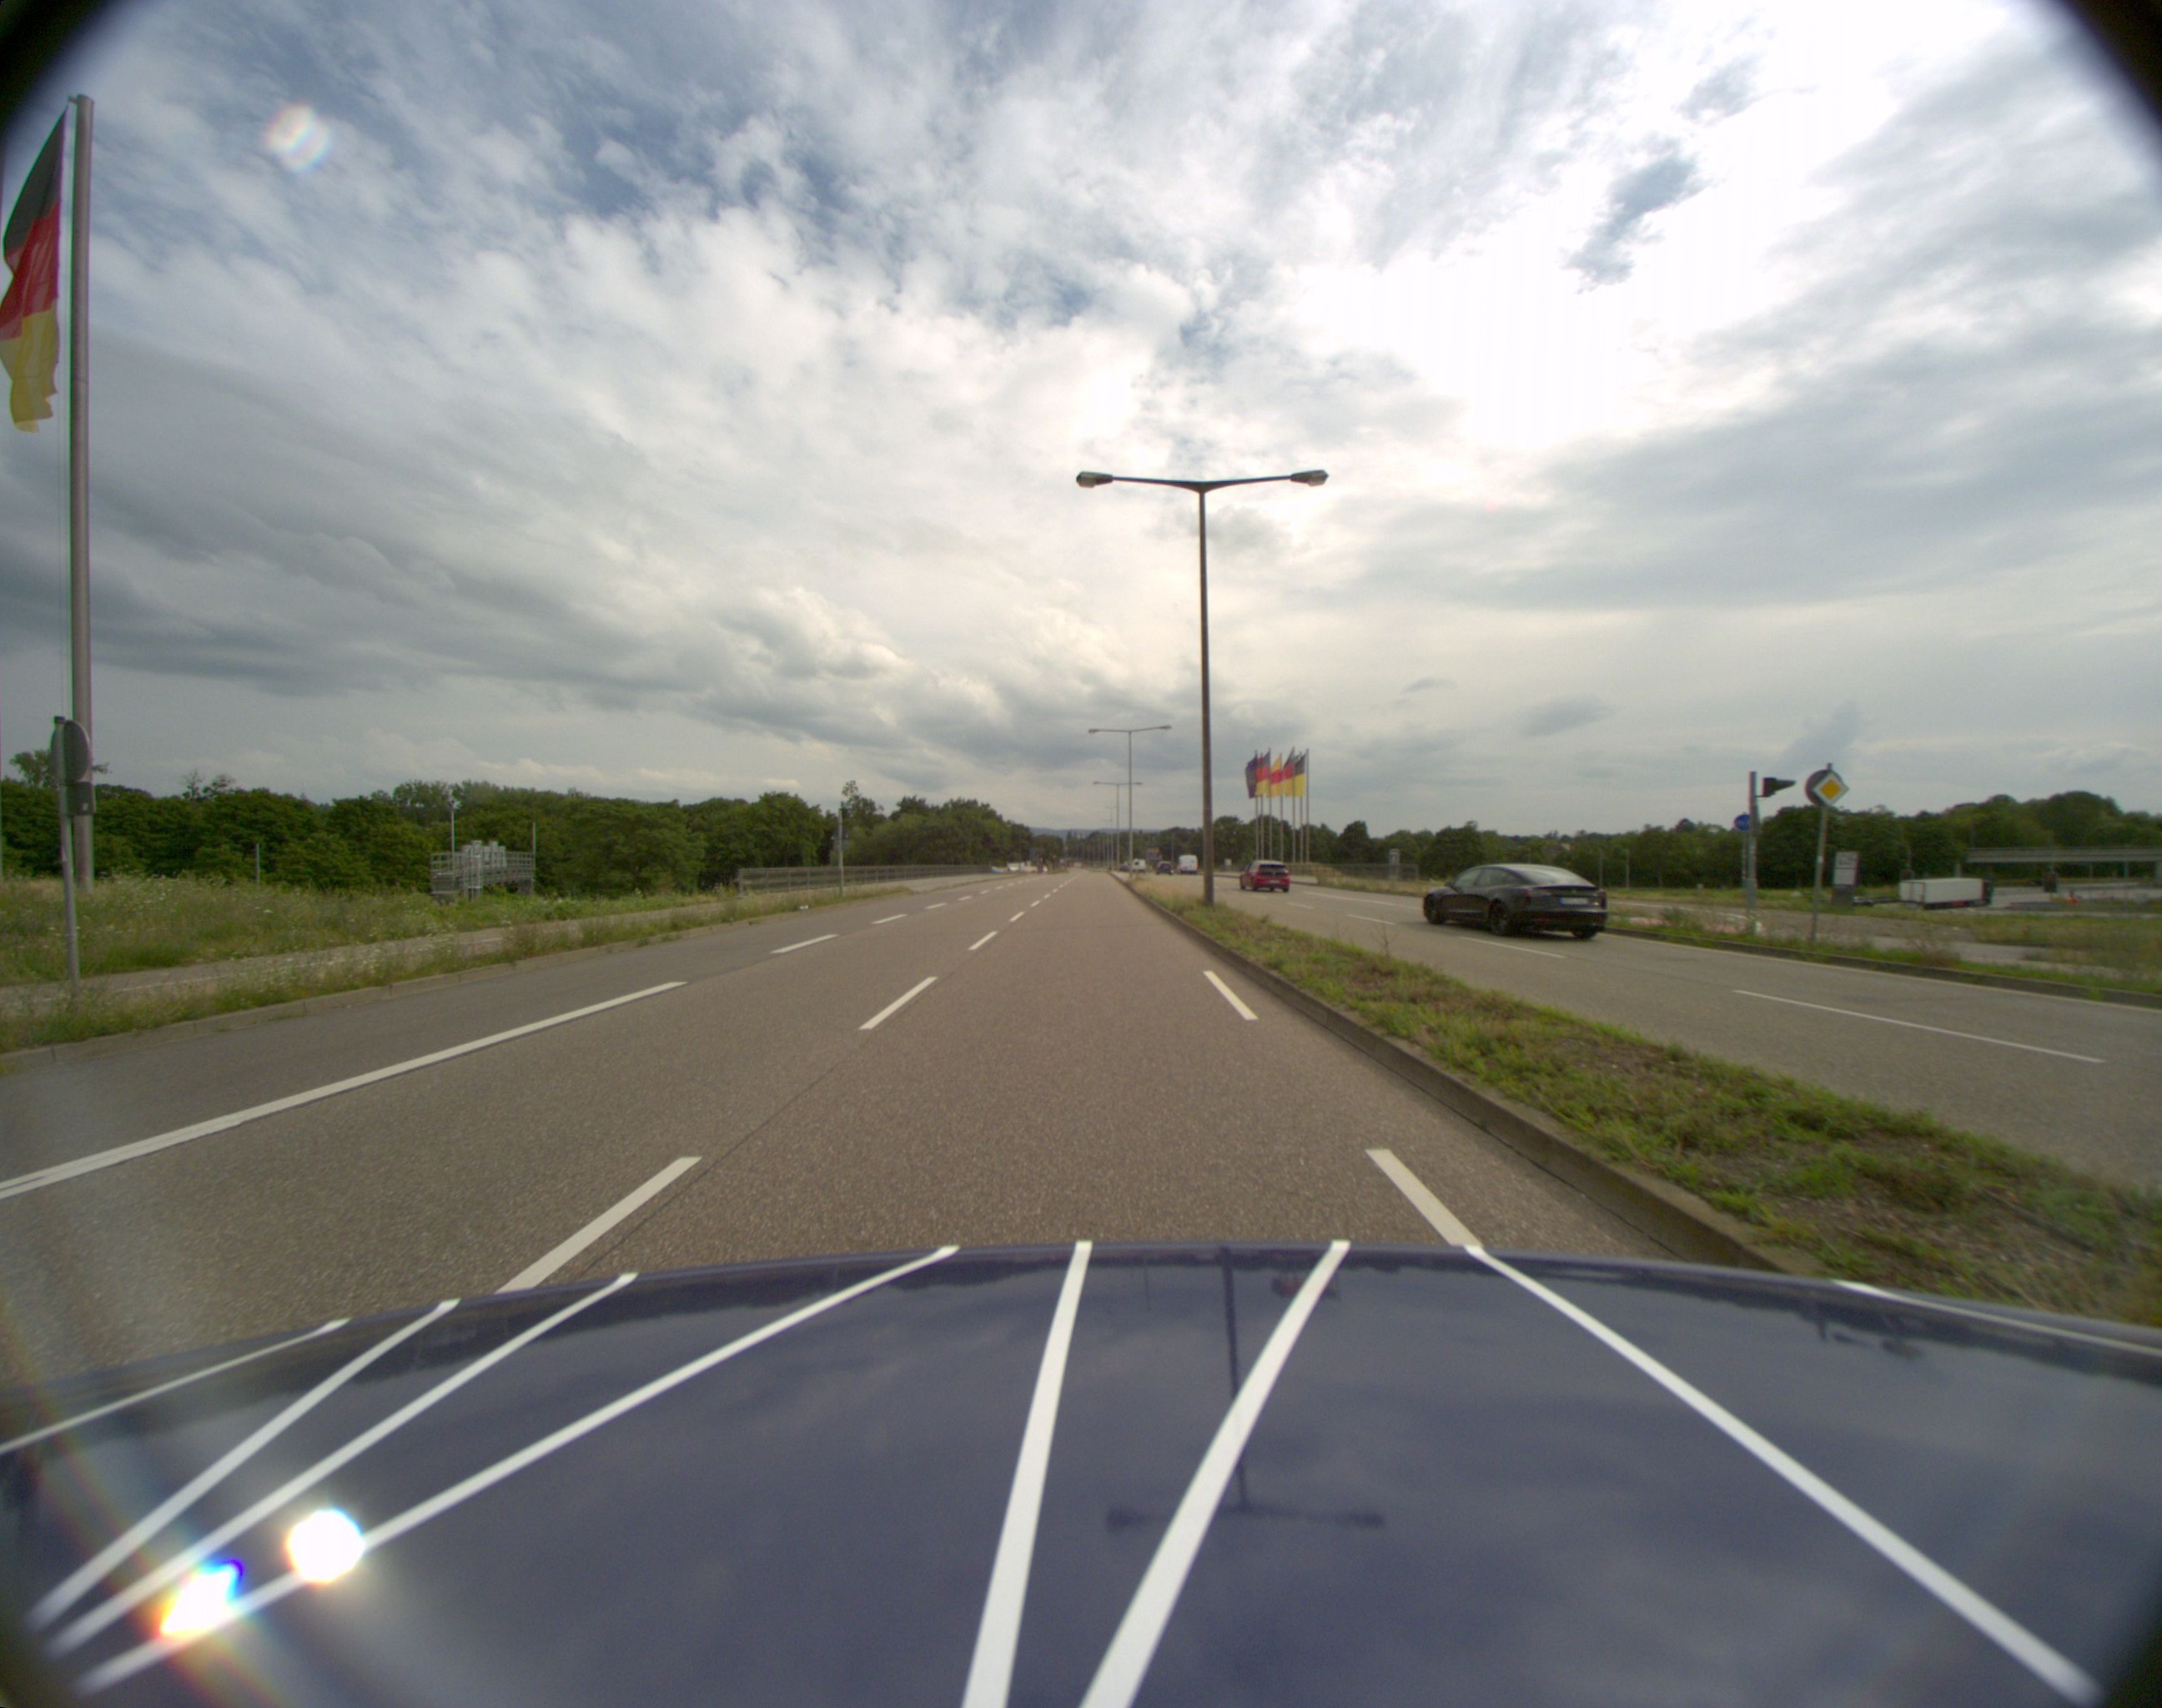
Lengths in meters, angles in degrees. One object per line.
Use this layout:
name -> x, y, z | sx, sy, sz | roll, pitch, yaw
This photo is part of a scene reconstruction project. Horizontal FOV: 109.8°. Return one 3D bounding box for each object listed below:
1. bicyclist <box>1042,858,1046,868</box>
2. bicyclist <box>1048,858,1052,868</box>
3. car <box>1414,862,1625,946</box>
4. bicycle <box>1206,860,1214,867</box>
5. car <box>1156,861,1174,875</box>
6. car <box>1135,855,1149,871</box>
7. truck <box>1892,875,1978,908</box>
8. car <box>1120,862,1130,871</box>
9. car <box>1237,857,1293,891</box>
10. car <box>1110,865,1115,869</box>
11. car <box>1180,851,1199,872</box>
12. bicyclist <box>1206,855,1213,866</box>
bicyclist -> -6.381, 1.570, 130.670 | 0.666, 1.649, 0.805 | -2, 0, 0
bicyclist -> -4.969, 1.398, 121.583 | 0.653, 1.648, 0.876 | -2, 0, -2
car -> 8.923, 0.926, 16.006 | 1.750, 1.467, 4.564 | 0, 0, -1
bicycle -> 18.628, 1.387, 109.902 | 0.708, 1.043, 2.059 | -1, 0, -2
car -> 10.205, 1.675, 92.666 | 1.751, 1.576, 4.587 | 1, 0, 2
car -> 7.350, 1.046, 92.041 | 1.543, 1.860, 3.571 | 1, 0, 2
truck -> 121.464, 5.260, 108.052 | 14.019, 4.318, 3.025 | 0, 1, -19
car -> 7.978, 2.300, 138.117 | 1.742, 1.472, 4.776 | 1, -1, 1
car -> 9.246, 0.948, 38.475 | 1.655, 1.565, 4.338 | 2, 0, -1
car -> 10.787, 4.496, 261.730 | 1.768, 1.432, 4.178 | 1, -1, 1
car -> 13.978, 0.982, 98.339 | 2.057, 2.627, 6.403 | 1, 0, 5
bicyclist -> 18.608, 0.962, 109.915 | 0.797, 1.617, 0.976 | -2, 0, -2
